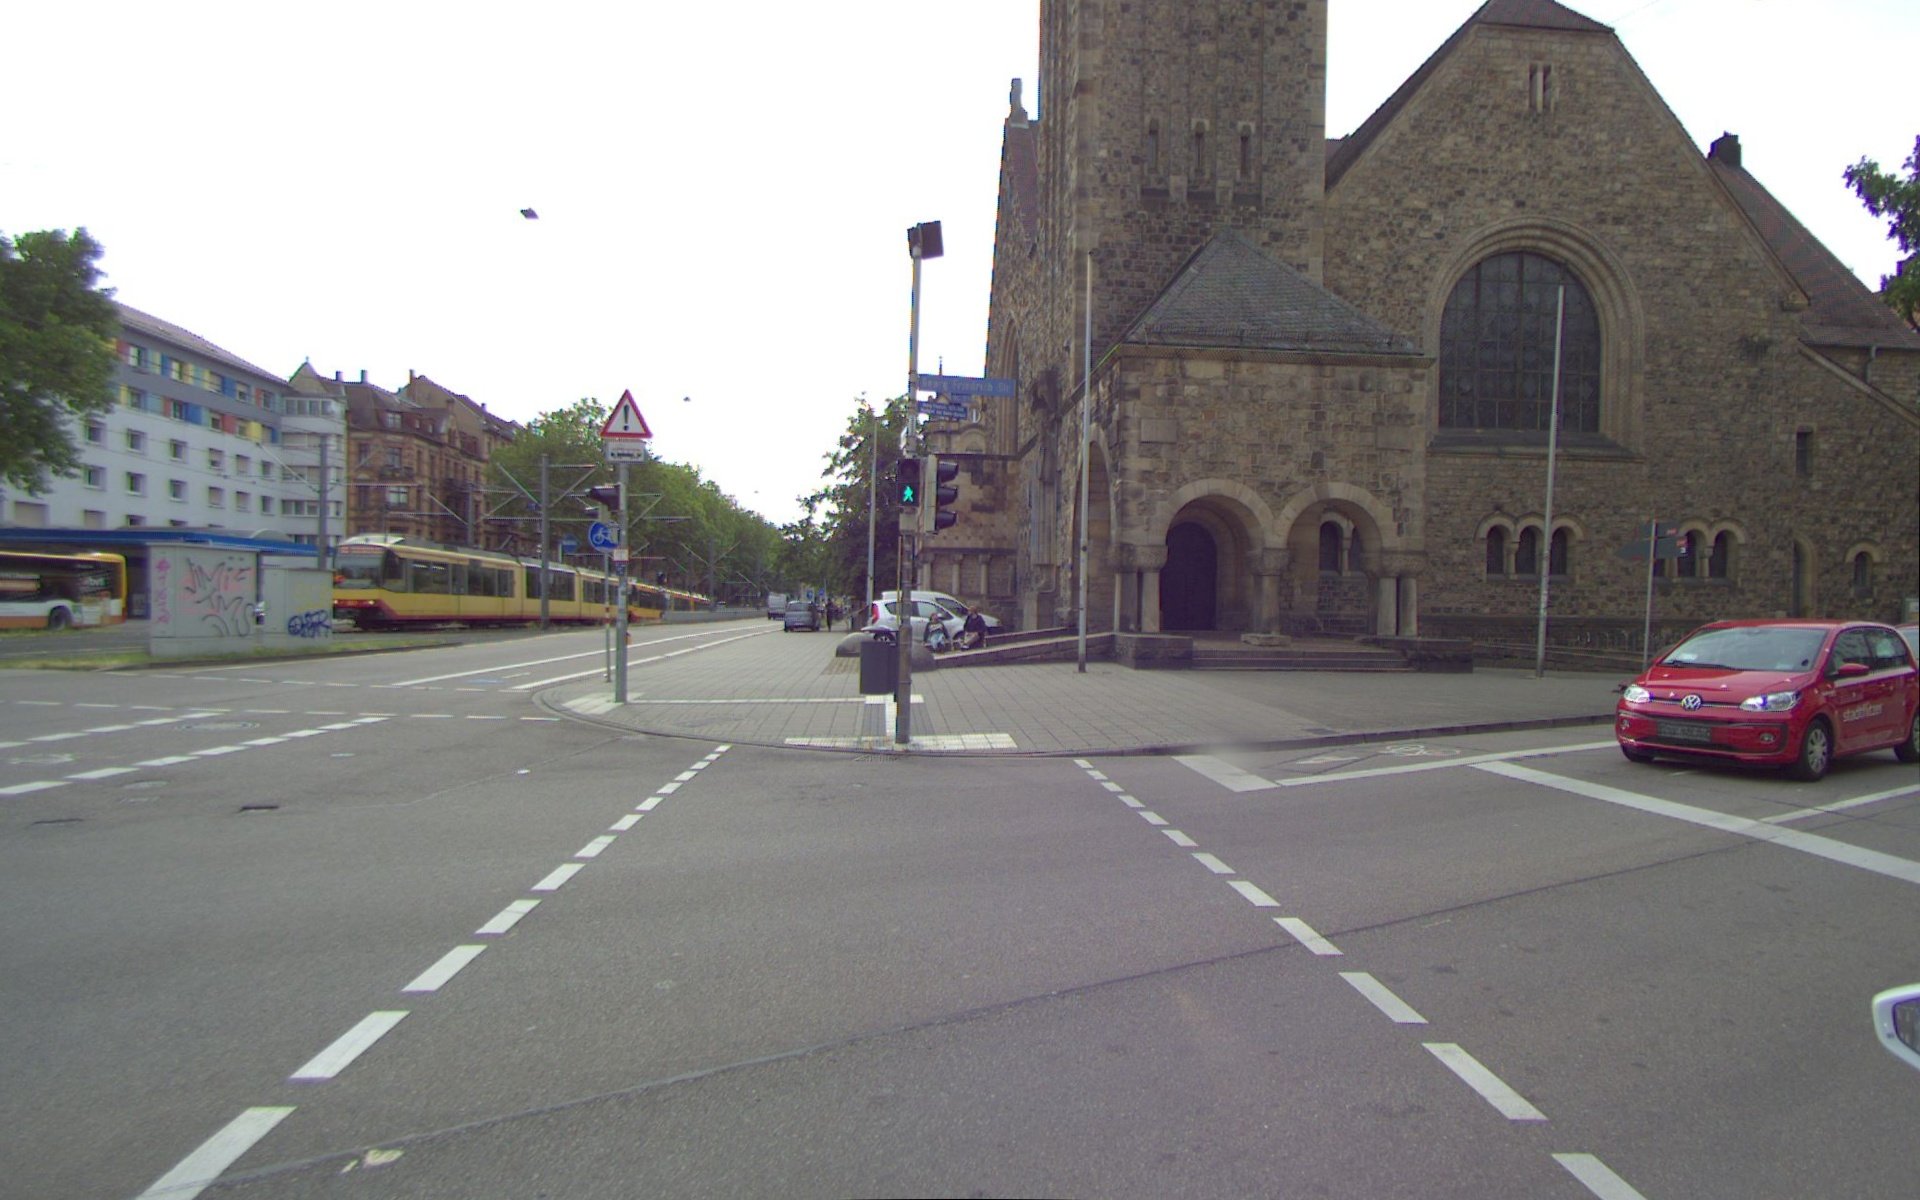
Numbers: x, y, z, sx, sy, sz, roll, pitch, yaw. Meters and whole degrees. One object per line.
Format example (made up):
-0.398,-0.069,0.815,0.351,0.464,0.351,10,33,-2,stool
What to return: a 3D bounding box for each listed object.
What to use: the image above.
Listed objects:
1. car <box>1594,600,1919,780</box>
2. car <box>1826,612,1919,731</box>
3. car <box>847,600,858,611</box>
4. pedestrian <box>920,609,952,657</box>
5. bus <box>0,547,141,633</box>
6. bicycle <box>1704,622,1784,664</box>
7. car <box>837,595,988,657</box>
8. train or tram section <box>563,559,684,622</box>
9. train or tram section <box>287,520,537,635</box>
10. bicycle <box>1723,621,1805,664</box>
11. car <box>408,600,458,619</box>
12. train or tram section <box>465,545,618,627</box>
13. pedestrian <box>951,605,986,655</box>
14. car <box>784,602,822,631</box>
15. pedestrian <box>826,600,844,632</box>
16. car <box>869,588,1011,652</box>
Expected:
8.485,0.806,10.385,3.847,1.548,1.642,0,-2,-30,car
13.434,0.932,13.527,3.675,1.476,1.594,1,-3,-31,car
-18.651,0.940,174.370,1.962,1.951,3.996,2,-1,-6,car
-0.646,0.843,26.265,0.725,1.207,1.492,2,0,-4,pedestrian
-33.766,-0.381,33.623,3.229,2.894,12.373,2,-1,-4,bus
22.948,1.250,29.434,0.650,1.145,1.777,1,0,-17,bicycle
-1.424,0.764,29.655,4.280,1.658,1.661,2,0,-5,car
-25.294,-0.553,77.278,3.558,4.147,19.939,2,-1,-3,train or tram section
-23.502,-0.754,44.796,3.584,4.147,15.032,2,-1,-3,train or tram section
23.709,1.238,29.664,0.730,1.182,1.777,1,0,-17,bicycle
-37.275,0.666,71.113,1.675,1.237,3.888,2,-1,-4,car
-24.344,-0.666,59.832,3.512,4.147,15.032,2,-1,-3,train or tram section
0.227,0.773,26.295,0.724,1.245,1.063,2,0,10,pedestrian
-8.471,0.874,54.503,1.675,1.478,3.888,2,-1,-4,car
-6.606,0.830,53.036,0.763,1.669,0.798,2,0,1,pedestrian
-0.695,0.657,33.083,4.538,1.906,1.661,2,0,-5,car
